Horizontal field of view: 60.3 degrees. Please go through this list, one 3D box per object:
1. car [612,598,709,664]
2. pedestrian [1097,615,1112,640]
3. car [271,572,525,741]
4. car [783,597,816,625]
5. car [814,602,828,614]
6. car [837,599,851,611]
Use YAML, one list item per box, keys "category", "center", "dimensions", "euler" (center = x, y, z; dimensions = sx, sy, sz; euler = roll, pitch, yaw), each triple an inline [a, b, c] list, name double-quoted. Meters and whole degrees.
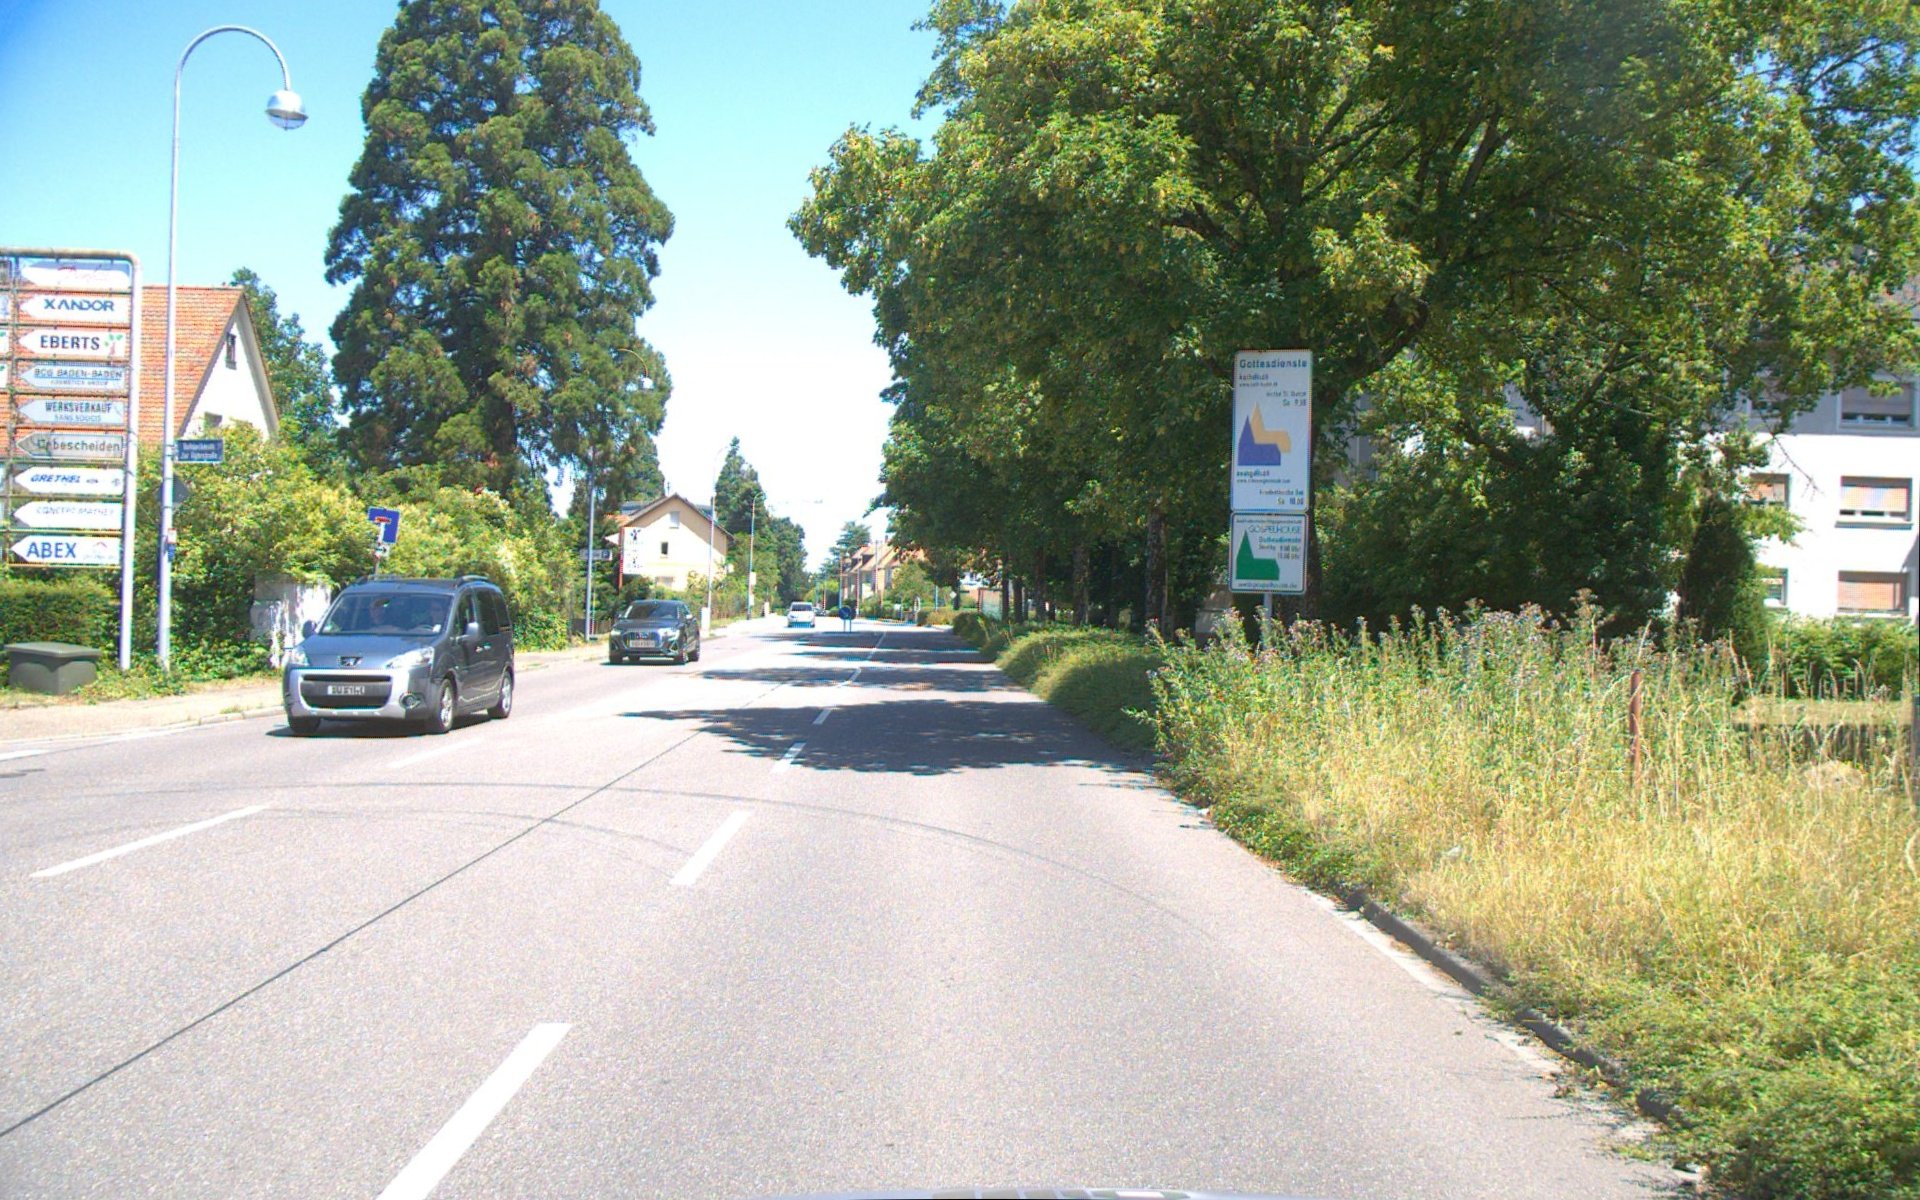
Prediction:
- category: "car"
  center: [-7.489, 0.753, 41.723]
  dimensions: [1.757, 1.563, 4.314]
  euler: [1, 0, -2]
- category: "pedestrian"
  center: [6.921, 1.311, 79.329]
  dimensions: [0.689, 1.180, 0.754]
  euler: [1, 0, 2]
- category: "car"
  center: [-6.577, 0.617, 19.900]
  dimensions: [1.775, 1.793, 4.566]
  euler: [0, 0, -4]
- category: "car"
  center: [-10.458, 0.706, 108.187]
  dimensions: [1.874, 1.718, 4.124]
  euler: [0, 2, -2]
- category: "car"
  center: [-20.878, 1.219, 248.007]
  dimensions: [1.778, 1.748, 3.999]
  euler: [1, 0, -1]
- category: "car"
  center: [-17.389, 0.751, 248.078]
  dimensions: [1.778, 1.748, 3.999]
  euler: [1, 0, -1]
